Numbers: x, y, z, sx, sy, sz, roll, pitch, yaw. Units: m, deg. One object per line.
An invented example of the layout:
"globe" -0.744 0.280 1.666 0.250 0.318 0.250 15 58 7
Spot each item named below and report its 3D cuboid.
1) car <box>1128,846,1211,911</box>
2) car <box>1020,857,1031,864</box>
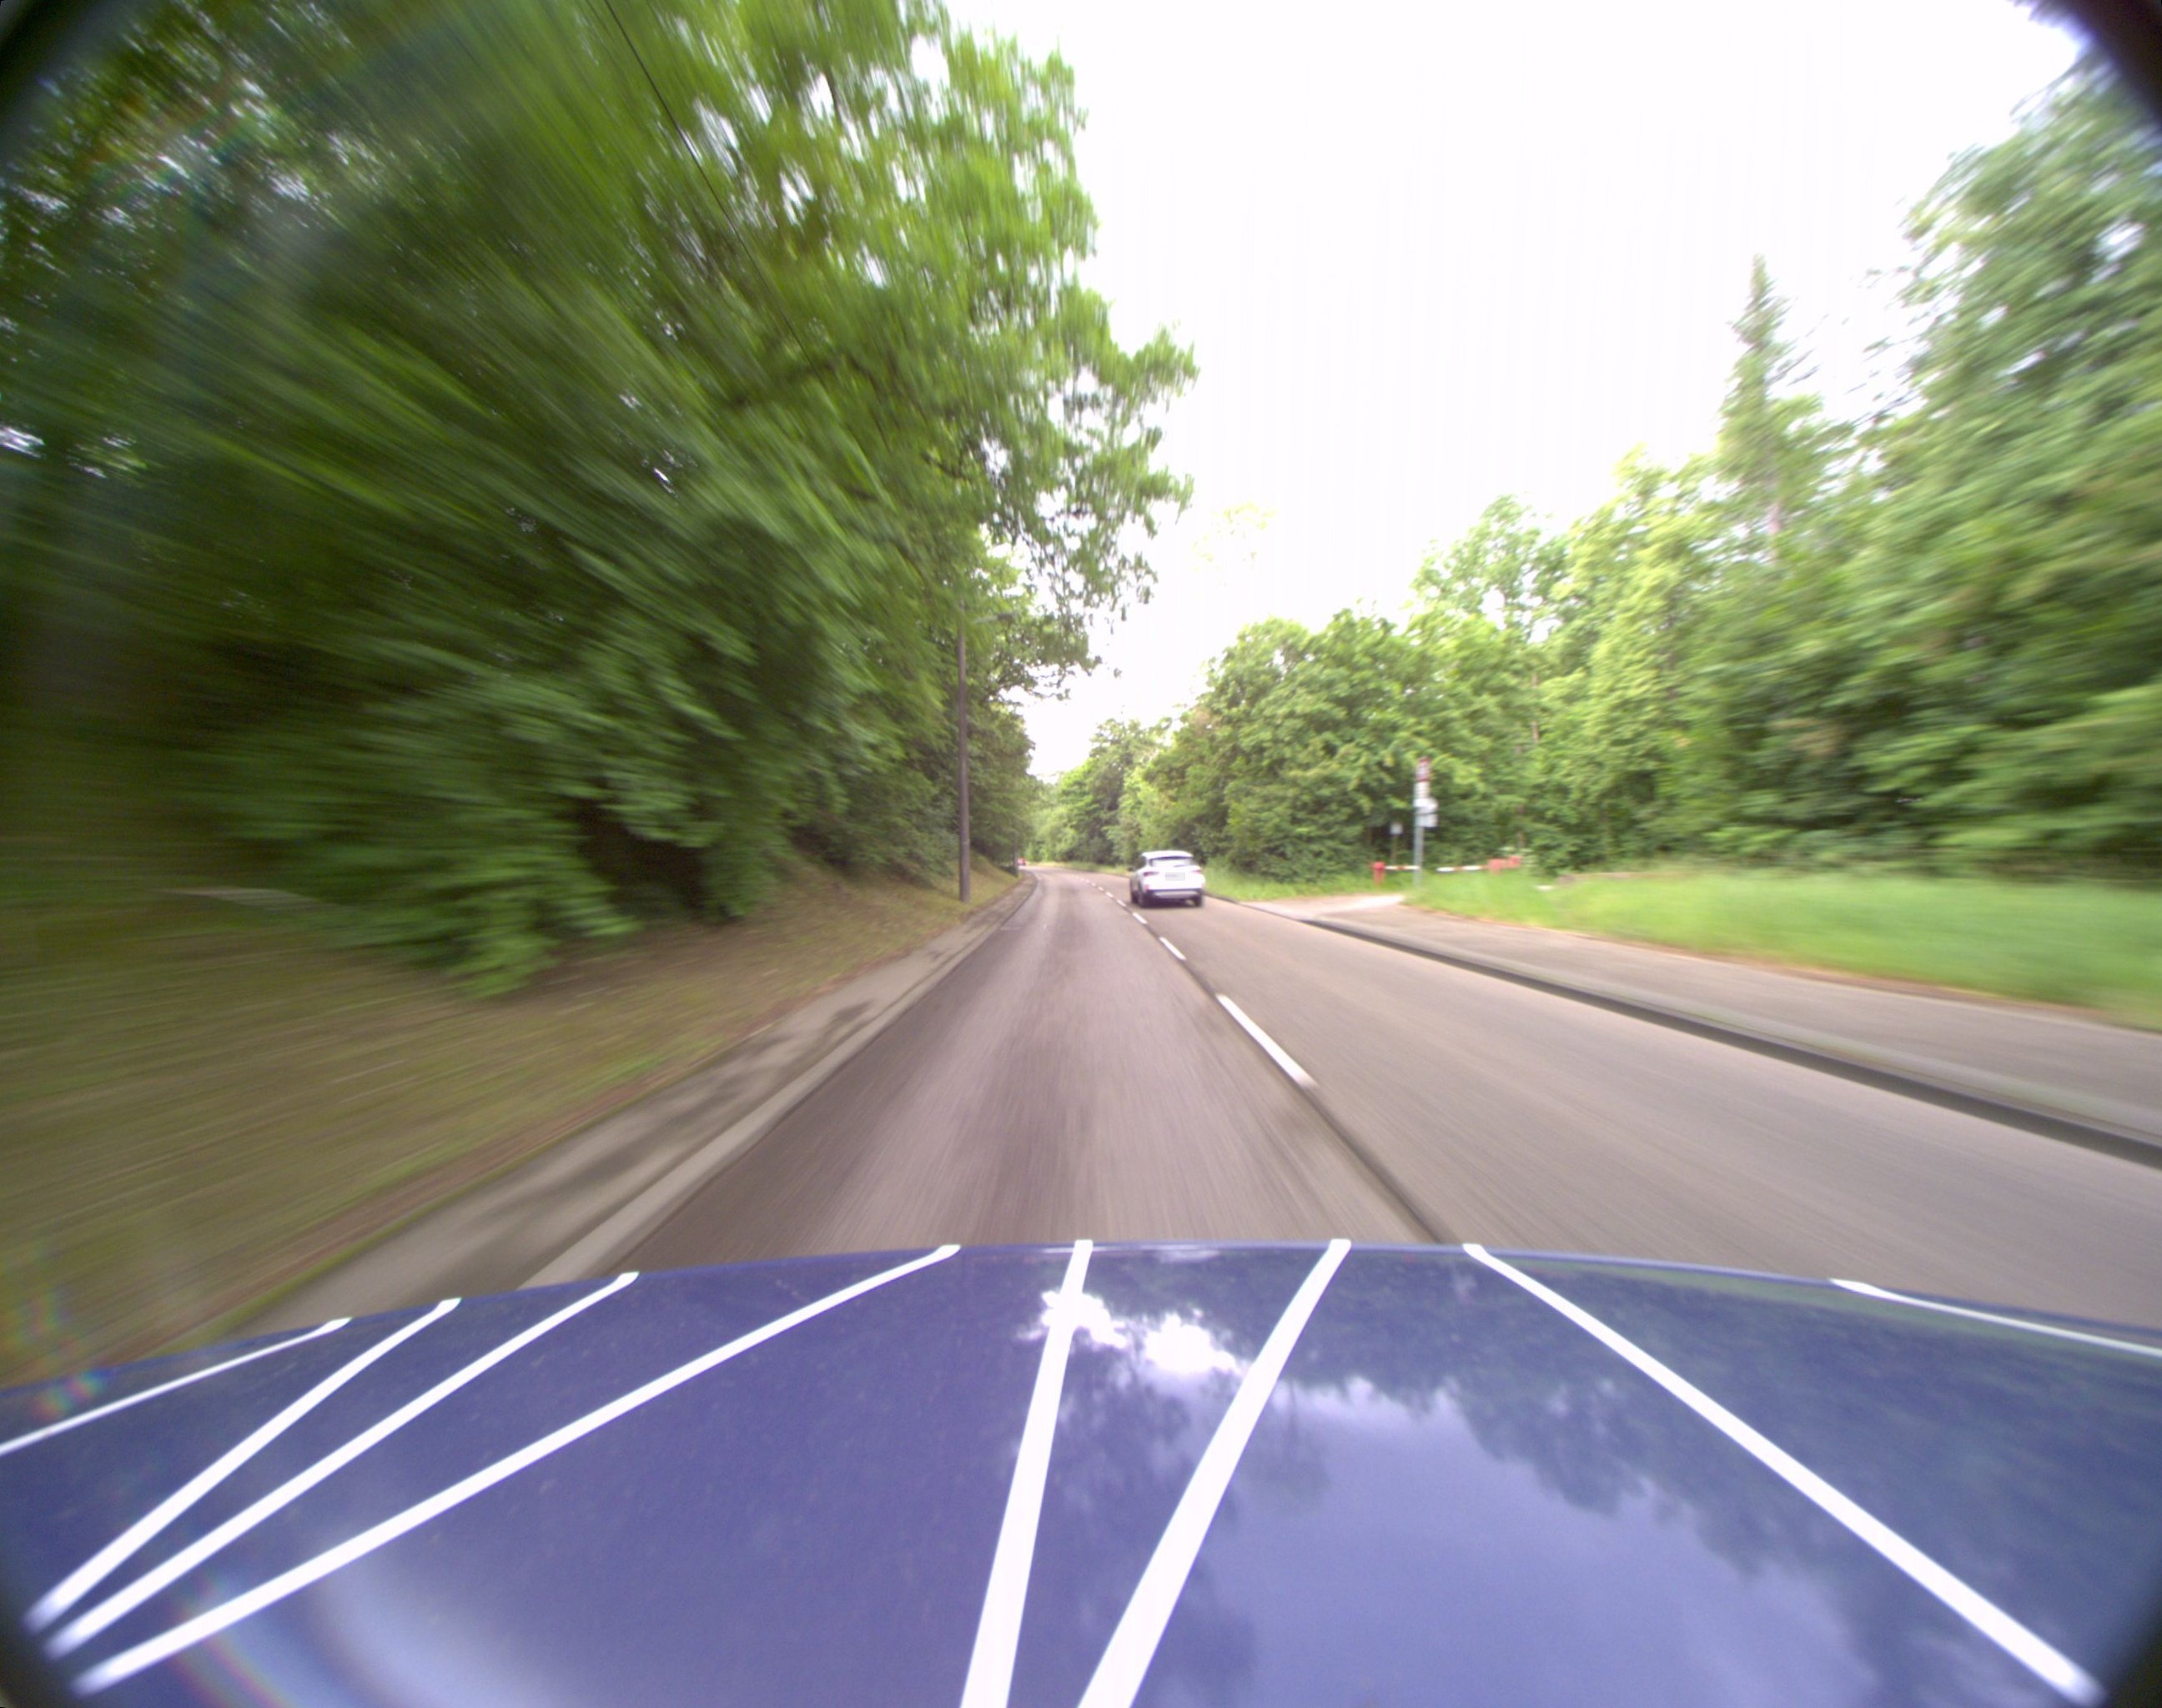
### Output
"car" 2.623 0.670 23.651 1.998 1.743 4.781 -2 1 0
"car" -12.680 1.478 172.804 2.000 1.429 3.995 -2 1 -12
